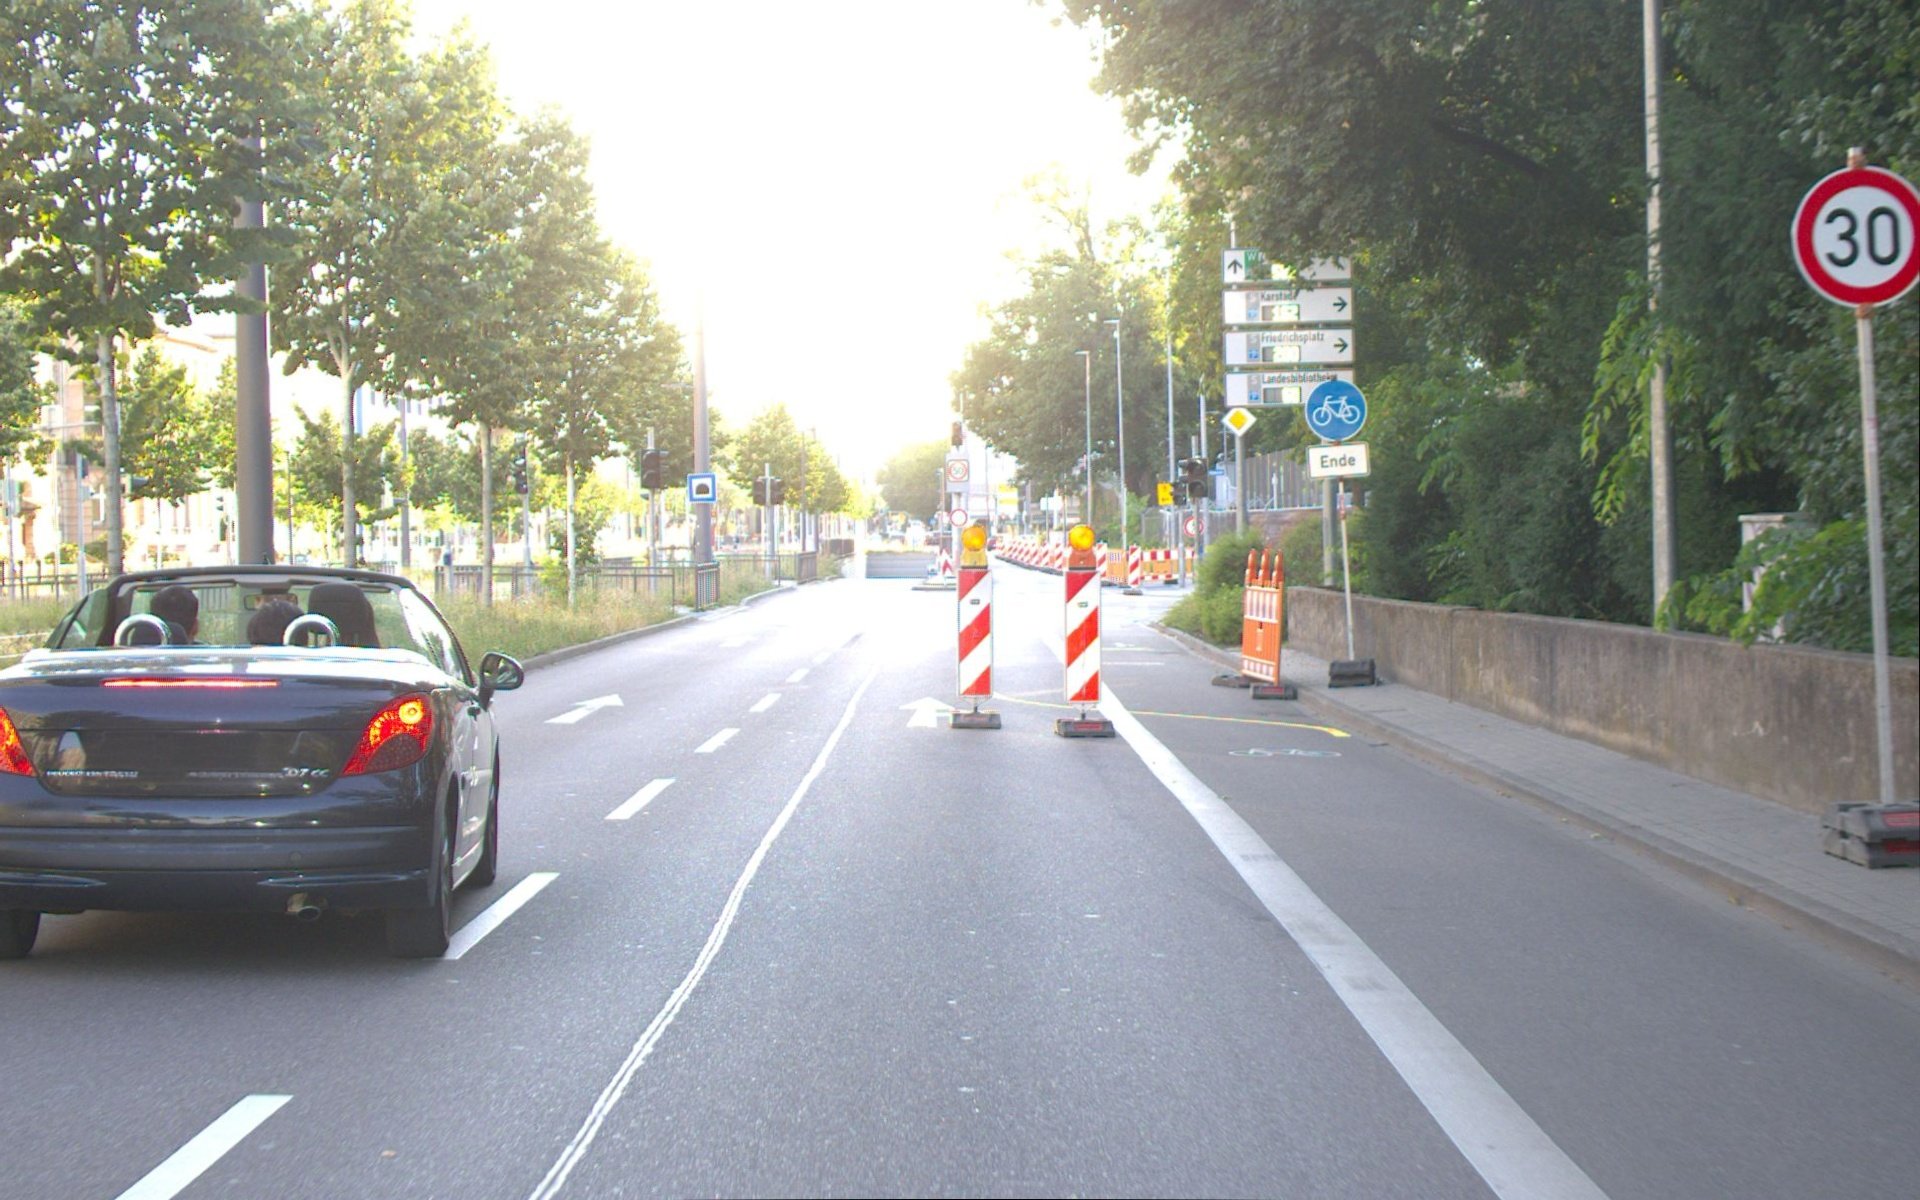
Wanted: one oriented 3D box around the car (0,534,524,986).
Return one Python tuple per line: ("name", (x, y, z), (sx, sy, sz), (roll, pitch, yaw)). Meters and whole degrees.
("car", (-2.680, 0.485, 13.156), (1.718, 1.444, 3.902), (0, 1, -3))
